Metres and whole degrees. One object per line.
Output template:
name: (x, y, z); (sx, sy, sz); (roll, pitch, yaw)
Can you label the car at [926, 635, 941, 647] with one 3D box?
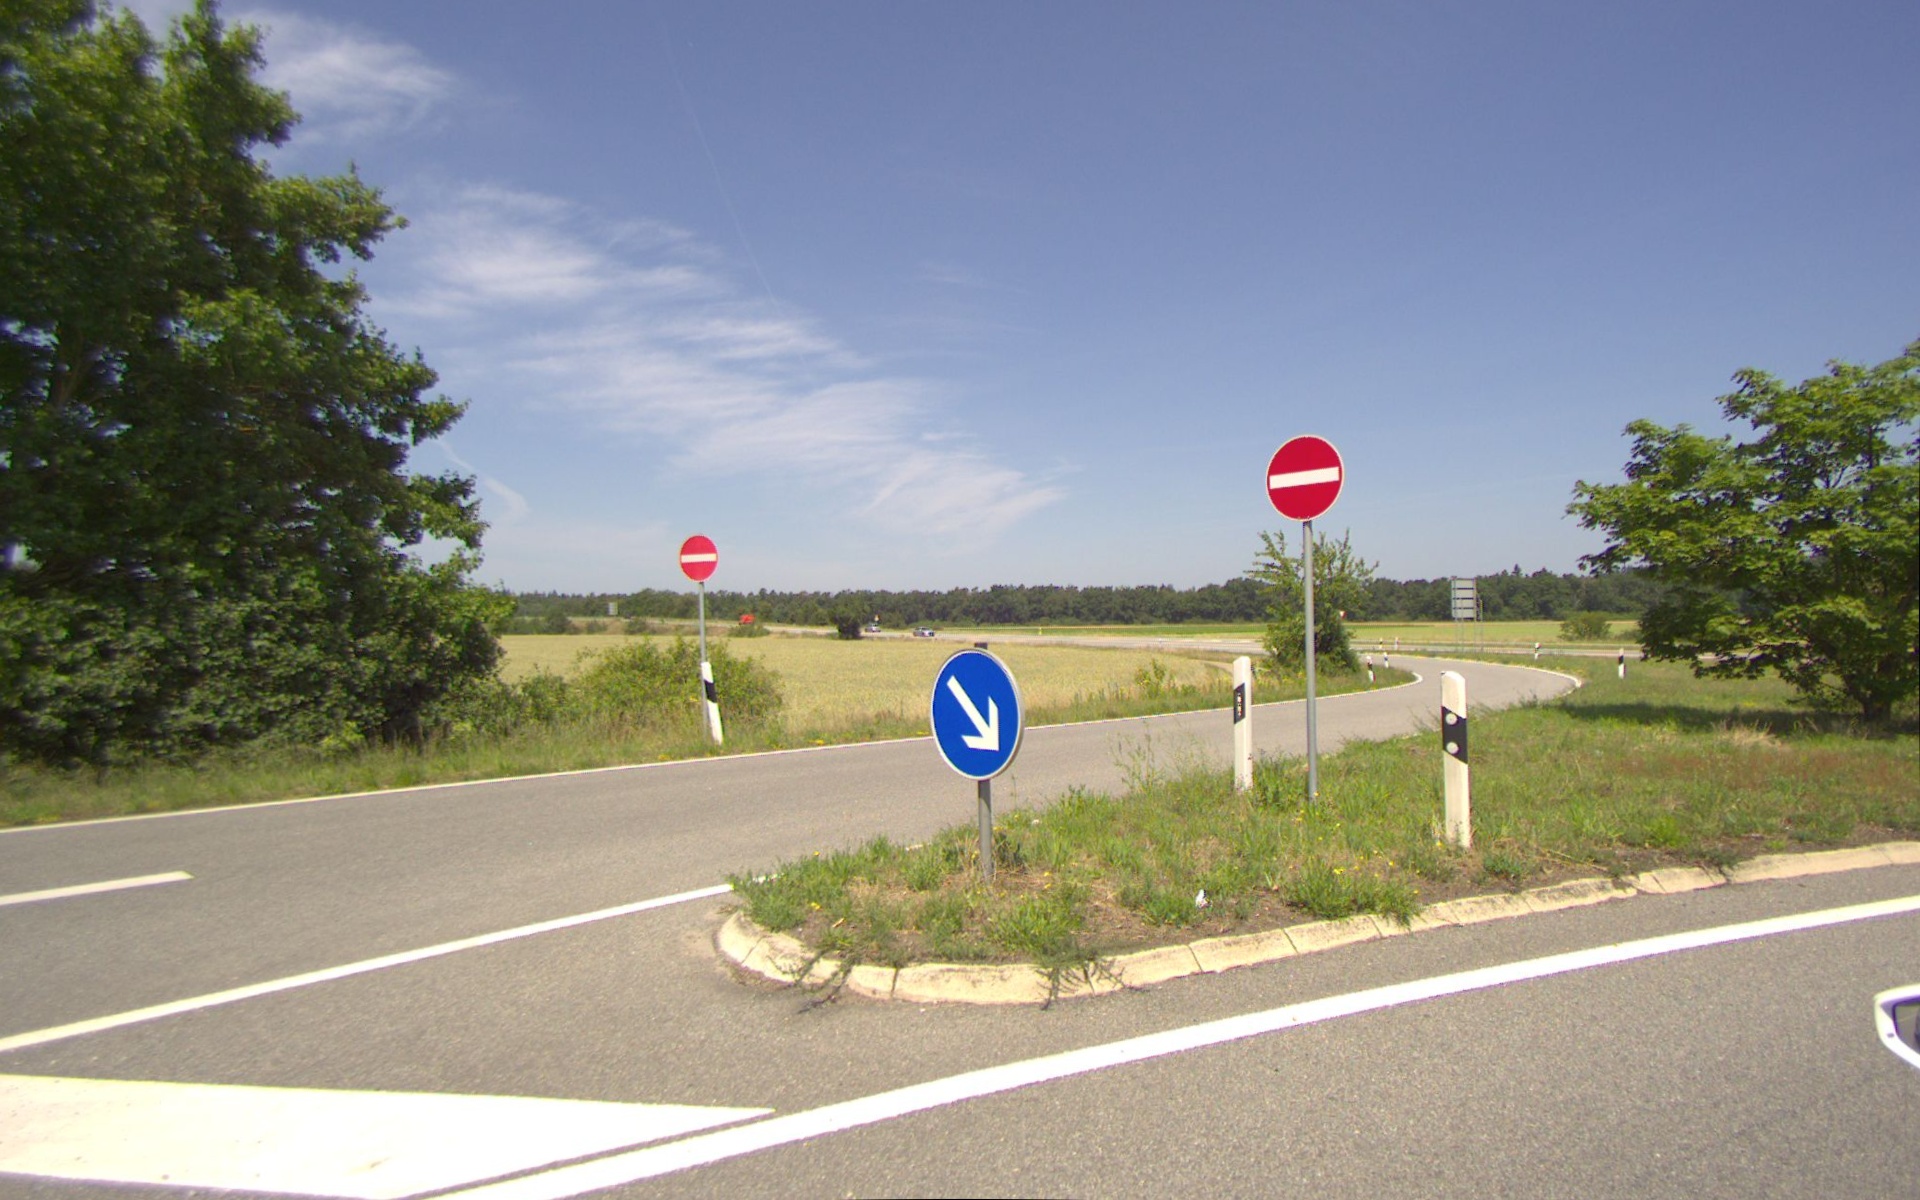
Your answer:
car: (-3.962, 6.162, 150.627); (1.697, 1.728, 3.419); (0, -1, -11)
